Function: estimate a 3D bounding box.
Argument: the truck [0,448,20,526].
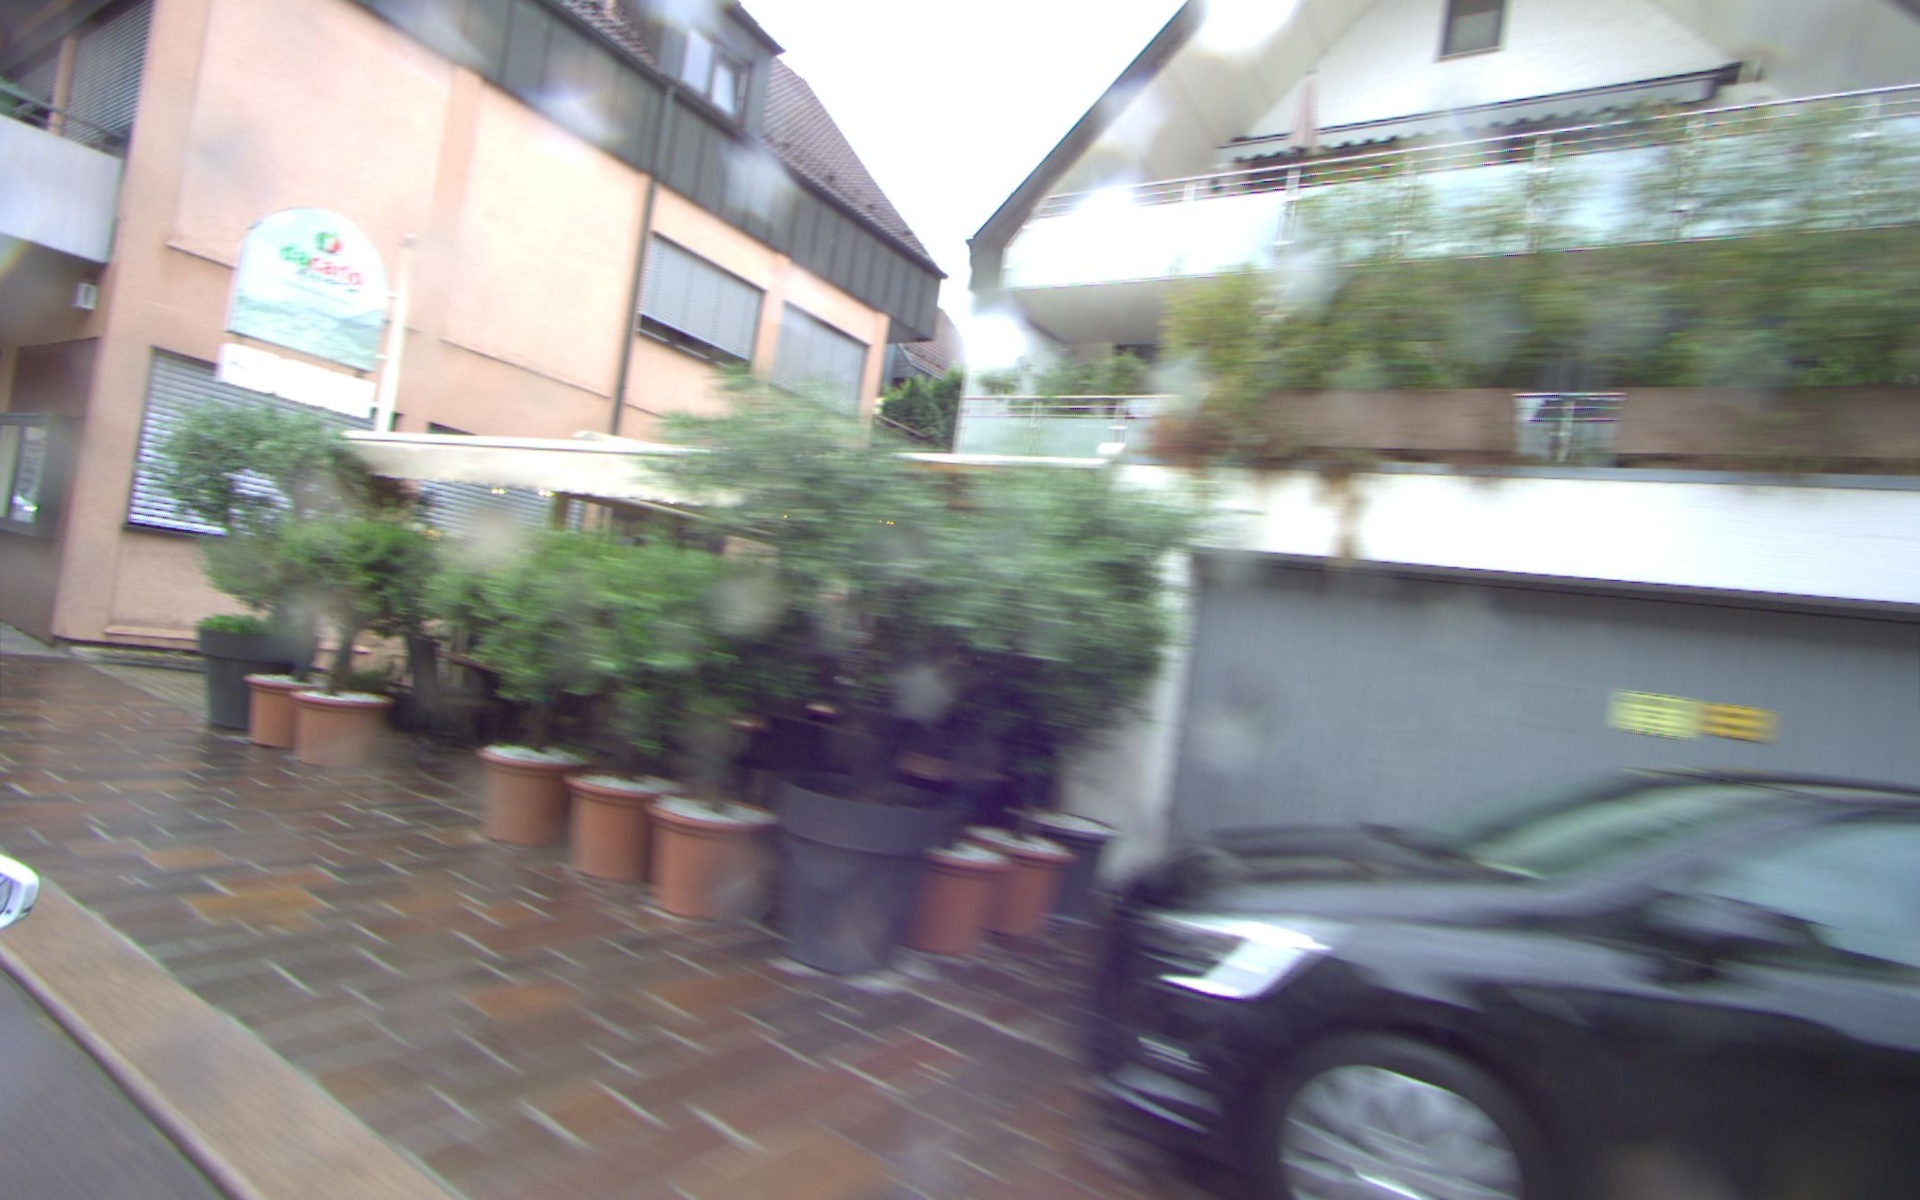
[{"bbox_3d":[-25.089,-2.995,24.862,3.936,1.829,1.765,7,-1,35],"label":"truck"}]

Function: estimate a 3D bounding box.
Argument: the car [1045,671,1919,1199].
[{"bbox_3d":[2.324,1.196,3.083,3.861,1.373,1.741,8,-1,9],"label":"car"}]
